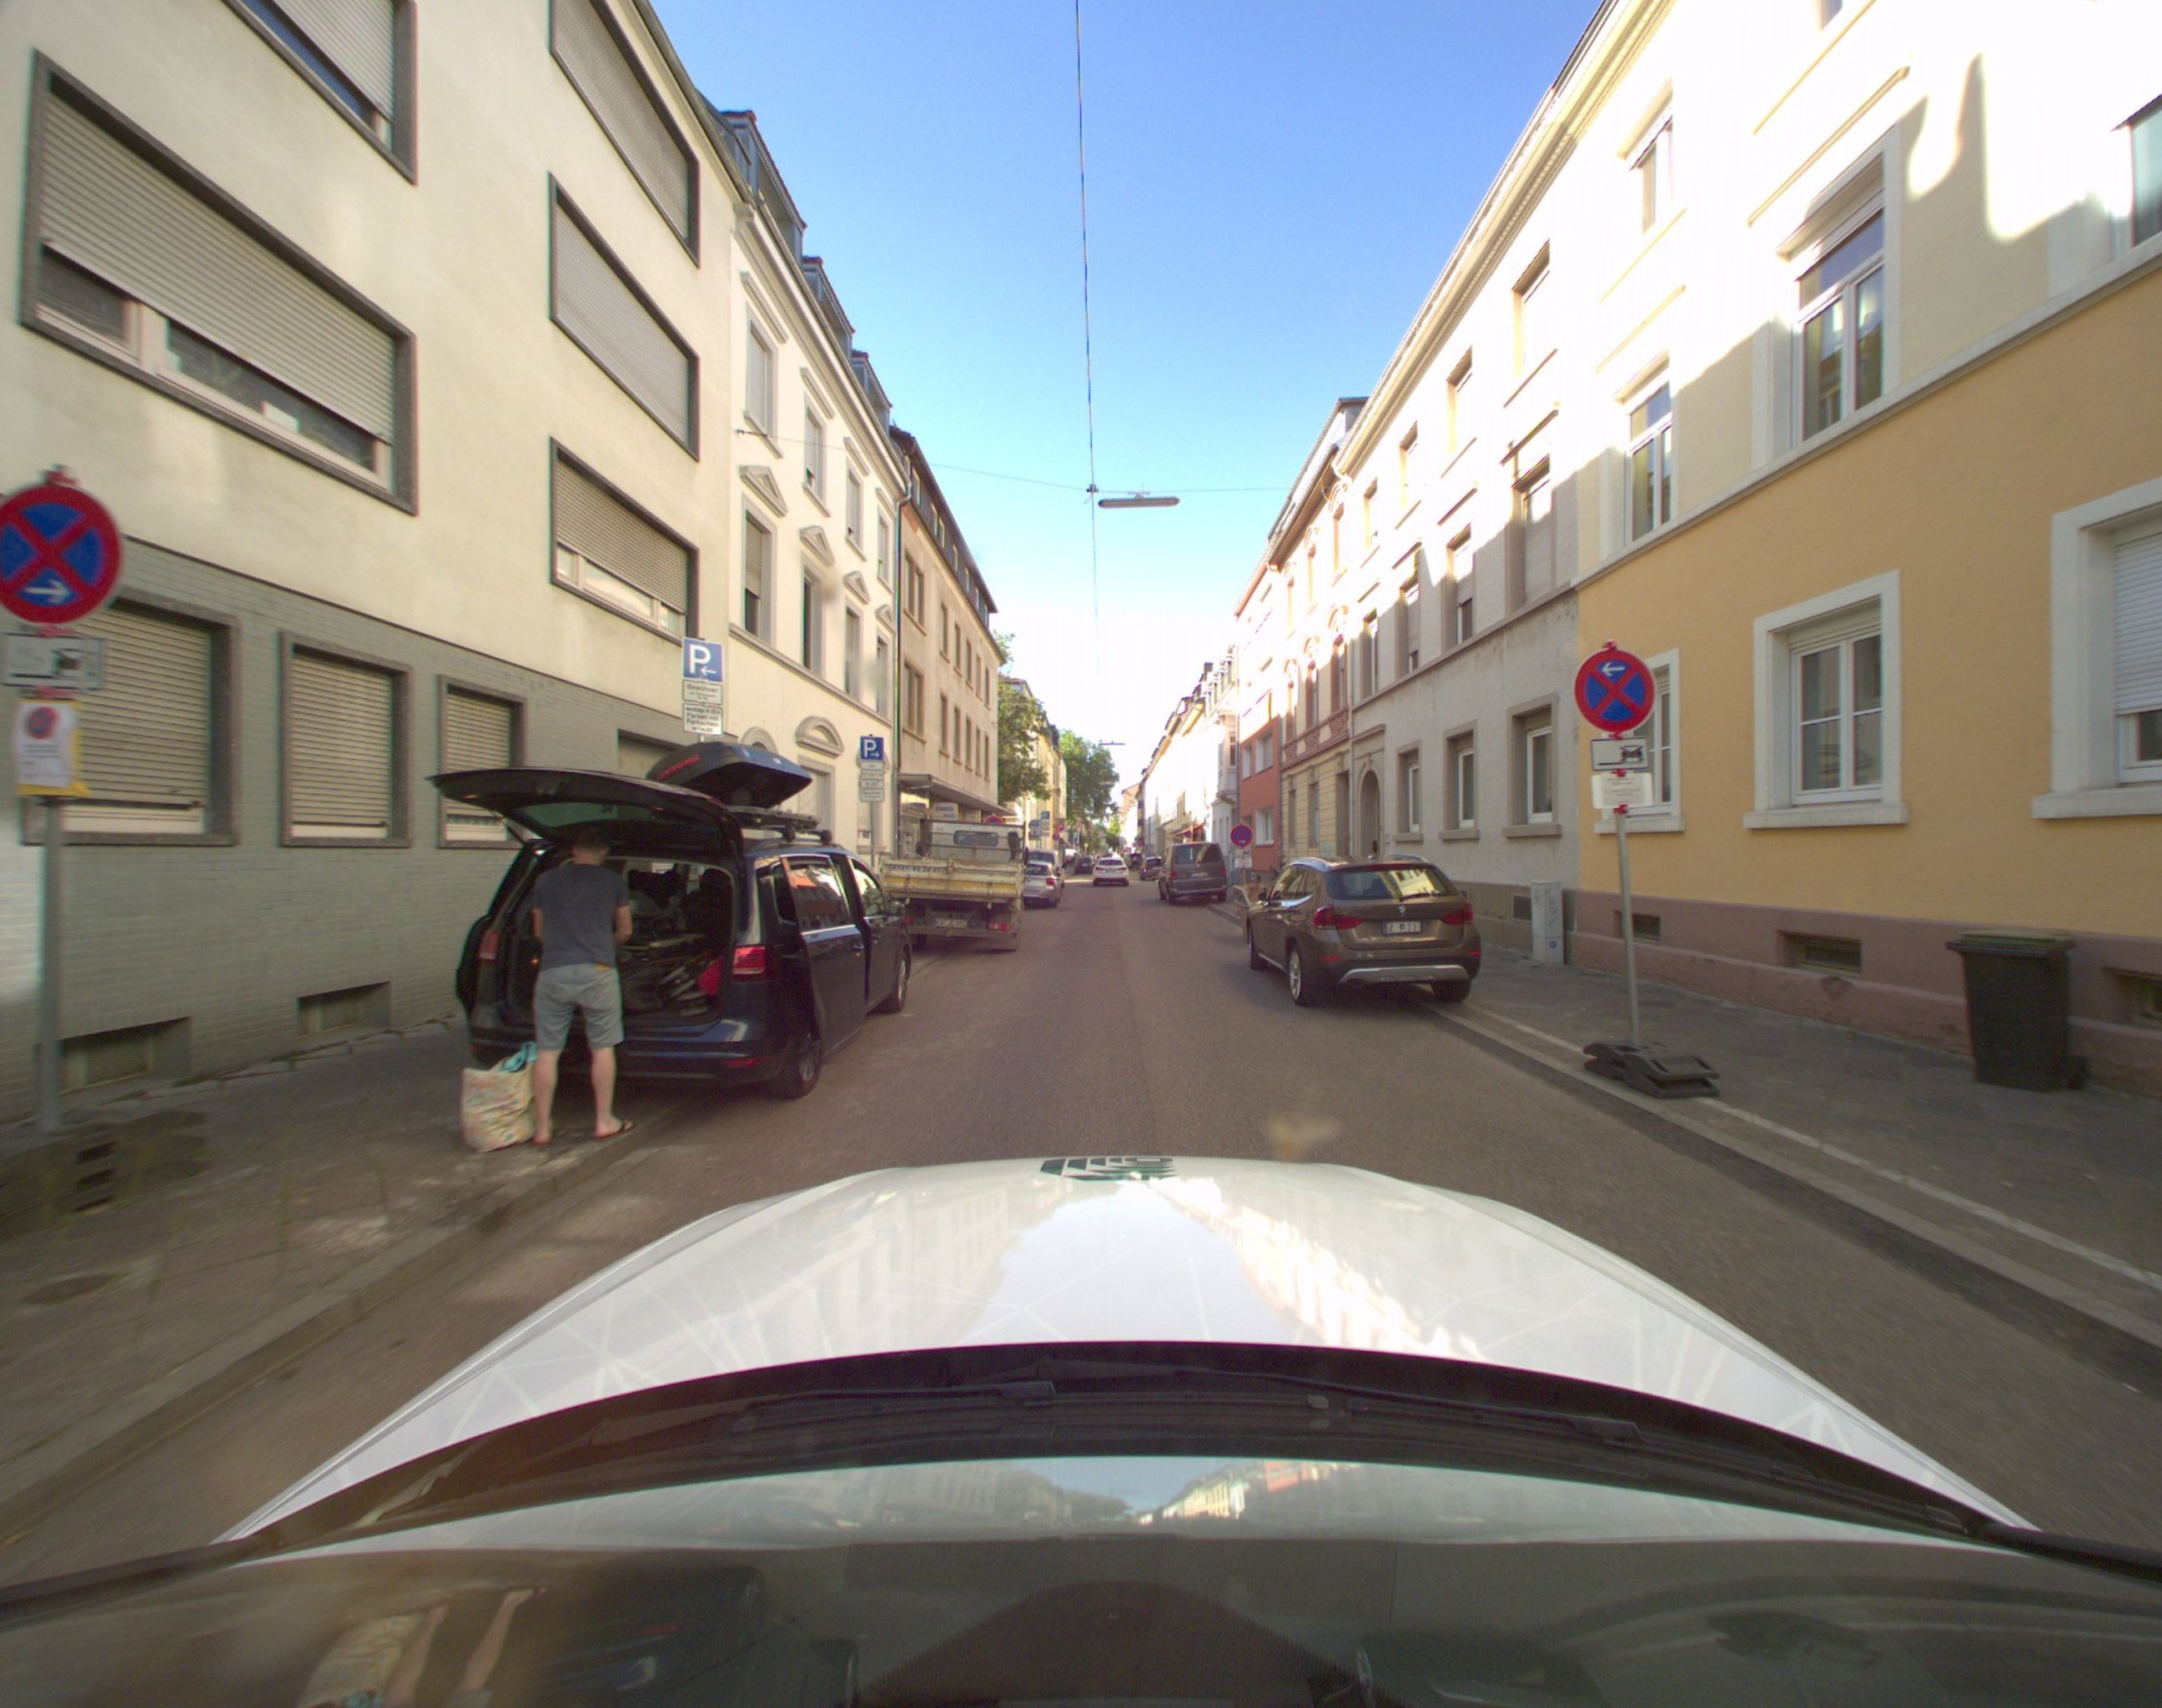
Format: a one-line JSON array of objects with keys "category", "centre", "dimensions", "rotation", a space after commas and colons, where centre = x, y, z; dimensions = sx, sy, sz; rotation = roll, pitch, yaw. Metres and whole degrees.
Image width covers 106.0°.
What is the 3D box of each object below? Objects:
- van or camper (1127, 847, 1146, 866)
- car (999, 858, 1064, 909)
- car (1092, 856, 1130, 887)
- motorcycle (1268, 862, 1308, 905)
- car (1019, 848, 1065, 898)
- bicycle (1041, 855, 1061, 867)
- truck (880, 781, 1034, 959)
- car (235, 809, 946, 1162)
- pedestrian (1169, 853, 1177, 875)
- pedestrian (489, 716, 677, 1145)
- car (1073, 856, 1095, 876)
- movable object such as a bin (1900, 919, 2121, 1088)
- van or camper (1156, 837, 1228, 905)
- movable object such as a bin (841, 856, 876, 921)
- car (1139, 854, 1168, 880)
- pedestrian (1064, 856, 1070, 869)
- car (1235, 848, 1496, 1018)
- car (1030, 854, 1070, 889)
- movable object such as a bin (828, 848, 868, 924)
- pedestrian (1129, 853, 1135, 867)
[{"category": "van or camper", "centre": [6.123, 0.291, 89.892], "dimensions": [1.986, 1.926, 4.001], "rotation": [-1, -1, 2]}, {"category": "car", "centre": [-1.518, 0.889, 26.241], "dimensions": [1.752, 1.415, 4.000], "rotation": [-2, 0, 0]}, {"category": "car", "centre": [1.570, 0.862, 42.142], "dimensions": [1.826, 1.486, 4.060], "rotation": [0, 0, 3]}, {"category": "motorcycle", "centre": [6.290, 0.861, 24.878], "dimensions": [0.594, 1.186, 2.762], "rotation": [-5, 0, 3]}, {"category": "car", "centre": [-1.479, 0.697, 31.999], "dimensions": [1.642, 1.867, 3.998], "rotation": [0, 0, -1]}, {"category": "bicycle", "centre": [-3.000, 0.700, 81.219], "dimensions": [1.962, 1.115, 0.507], "rotation": [0, 0, -33]}, {"category": "truck", "centre": [-2.011, 0.284, 15.108], "dimensions": [2.152, 2.590, 6.242], "rotation": [-1, -1, -3]}, {"category": "car", "centre": [-2.828, 0.629, 6.582], "dimensions": [2.432, 1.706, 5.244], "rotation": [0, 0, 2]}, {"category": "pedestrian", "centre": [7.444, 0.827, 65.630], "dimensions": [0.524, 1.727, 0.492], "rotation": [-1, -2, 17]}, {"category": "pedestrian", "centre": [-2.769, 0.402, 4.596], "dimensions": [0.616, 2.229, 0.688], "rotation": [-1, -2, 2]}, {"category": "car", "centre": [0.278, 0.974, 67.226], "dimensions": [1.618, 1.597, 3.582], "rotation": [0, 0, 2]}, {"category": "movable object such as a bin", "centre": [5.777, 0.902, 5.099], "dimensions": [0.651, 0.936, 0.642], "rotation": [0, 0, -1]}, {"category": "van or camper", "centre": [3.671, 0.541, 27.676], "dimensions": [1.769, 2.036, 4.569], "rotation": [-2, 0, 0]}, {"category": "movable object such as a bin", "centre": [-4.758, 0.728, 17.445], "dimensions": [0.559, 1.360, 0.633], "rotation": [0, 0, 2]}, {"category": "car", "centre": [4.625, 0.793, 52.151], "dimensions": [1.640, 1.576, 3.681], "rotation": [0, 0, 2]}, {"category": "pedestrian", "centre": [-1.603, 1.021, 95.562], "dimensions": [0.625, 1.464, 0.575], "rotation": [-1, -1, 2]}, {"category": "car", "centre": [3.096, 0.726, 9.862], "dimensions": [1.733, 1.577, 4.379], "rotation": [0, 1, 1]}, {"category": "car", "centre": [-1.425, 0.801, 38.934], "dimensions": [1.640, 1.576, 3.681], "rotation": [0, 0, 2]}, {"category": "movable object such as a bin", "centre": [-4.802, 0.654, 16.807], "dimensions": [0.637, 1.532, 0.587], "rotation": [0, 0, 2]}, {"category": "pedestrian", "centre": [5.761, 0.680, 91.457], "dimensions": [0.625, 1.464, 0.575], "rotation": [-1, -1, 2]}]
